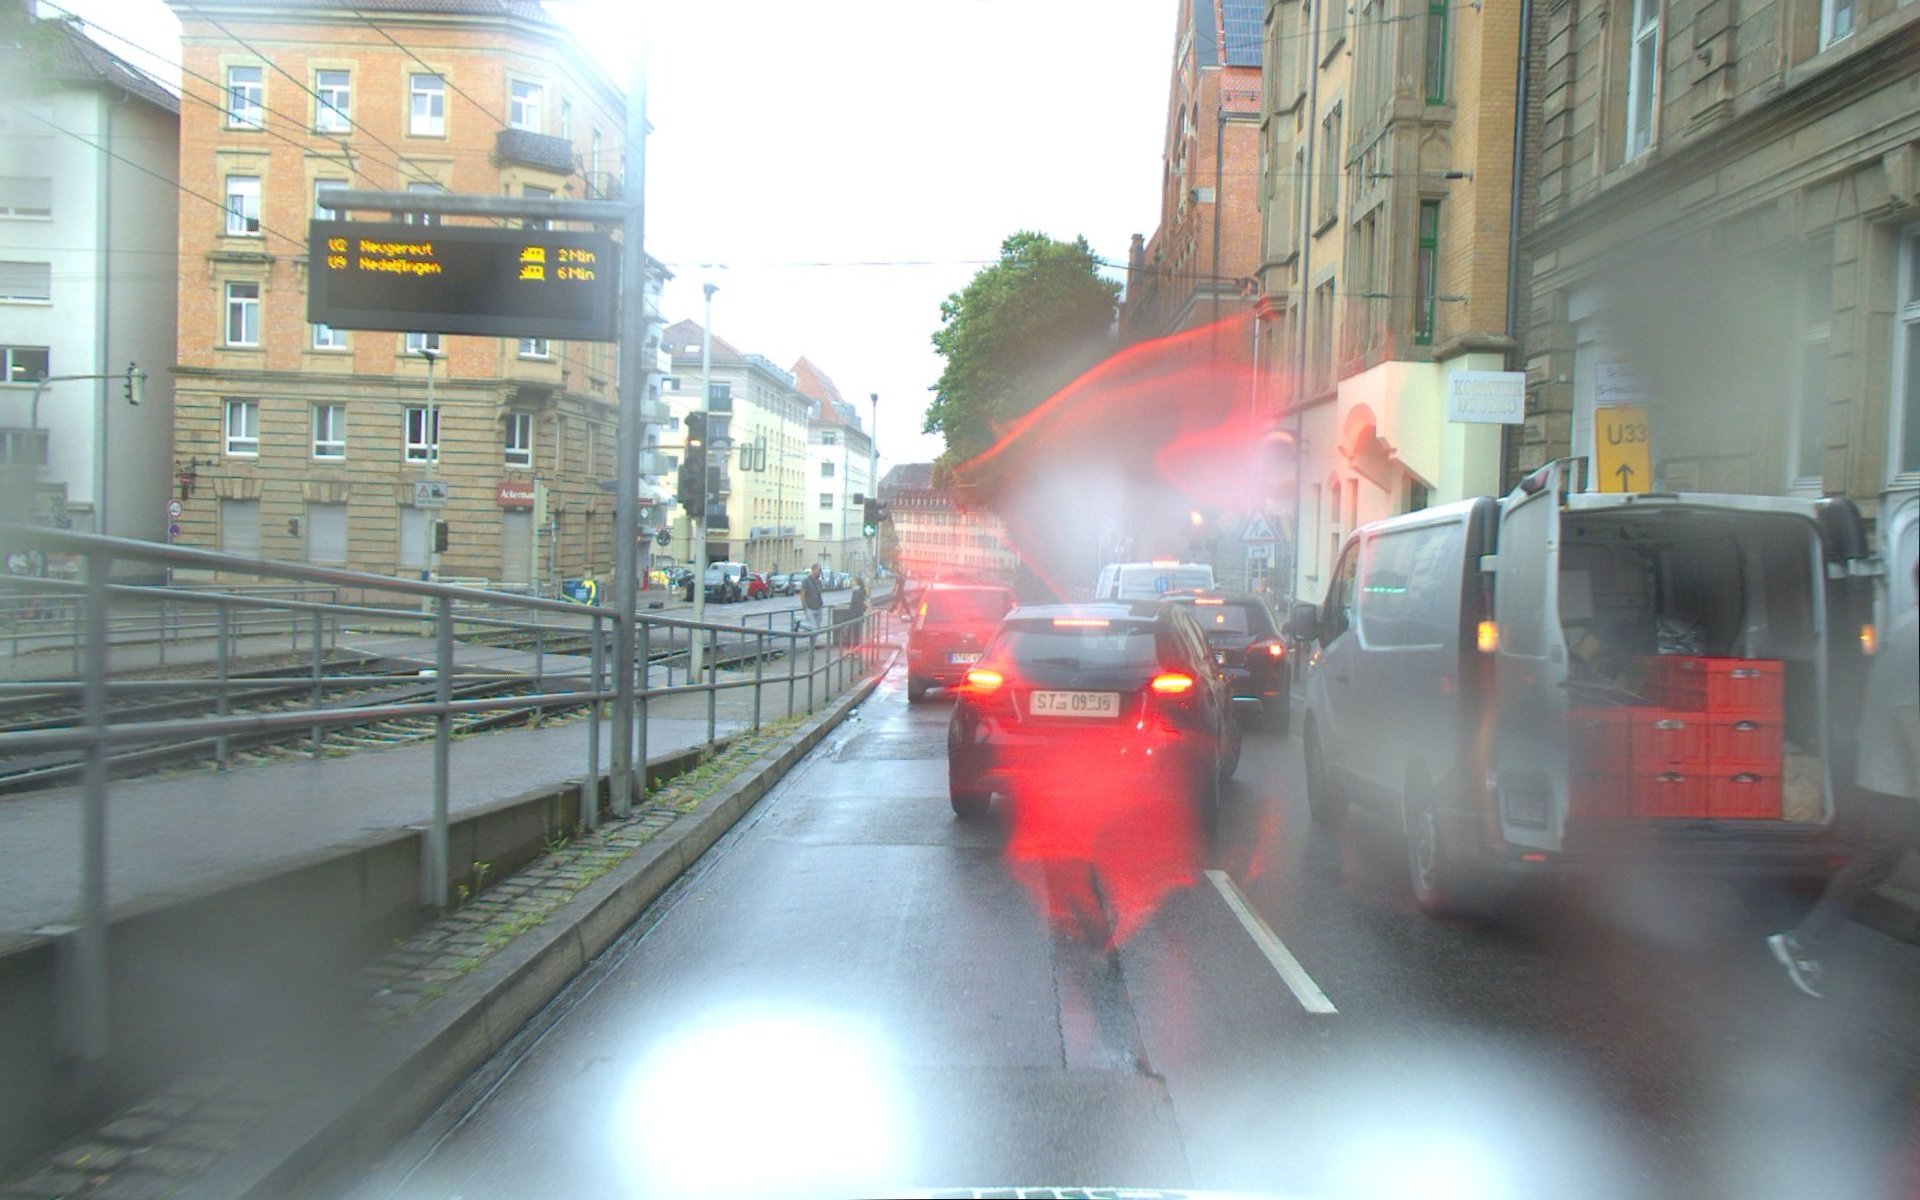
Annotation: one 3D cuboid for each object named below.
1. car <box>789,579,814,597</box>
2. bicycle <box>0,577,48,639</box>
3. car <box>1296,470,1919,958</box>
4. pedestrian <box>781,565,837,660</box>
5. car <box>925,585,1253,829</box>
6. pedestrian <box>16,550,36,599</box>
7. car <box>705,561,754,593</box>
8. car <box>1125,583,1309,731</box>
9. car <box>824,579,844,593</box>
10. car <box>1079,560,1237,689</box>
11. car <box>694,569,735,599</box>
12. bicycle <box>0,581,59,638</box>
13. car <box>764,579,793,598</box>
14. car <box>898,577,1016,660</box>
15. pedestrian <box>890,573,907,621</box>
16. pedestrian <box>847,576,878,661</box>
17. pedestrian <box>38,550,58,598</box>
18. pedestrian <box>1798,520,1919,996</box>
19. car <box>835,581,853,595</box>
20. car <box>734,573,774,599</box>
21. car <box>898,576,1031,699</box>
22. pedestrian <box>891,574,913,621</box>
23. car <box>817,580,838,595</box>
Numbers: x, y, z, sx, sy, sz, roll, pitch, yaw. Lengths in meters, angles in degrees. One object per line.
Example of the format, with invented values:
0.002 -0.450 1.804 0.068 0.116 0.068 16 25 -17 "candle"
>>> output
-11.399 -0.866 119.056 1.366 1.191 3.162 2 0 2 "car"
-18.471 0.132 31.596 1.734 1.162 0.517 1 0 -10 "bicycle"
3.212 0.460 9.189 1.881 1.969 4.687 1 0 2 "car"
-2.844 0.223 31.082 0.735 1.754 0.730 1 0 -42 "pedestrian"
1.113 0.633 12.007 1.854 1.414 4.003 1 0 12 "car"
-31.857 -0.871 56.409 0.512 1.650 0.480 1 0 -38 "pedestrian"
-12.020 -1.179 86.463 1.749 1.556 4.463 2 0 2 "car"
2.885 0.576 19.350 1.677 1.494 4.283 2 0 3 "car"
-11.109 -1.234 145.951 1.366 1.191 3.162 2 0 2 "car"
3.088 0.335 26.608 1.894 1.863 4.280 2 1 -1 "car"
-11.880 -0.782 80.079 1.422 1.341 3.295 3 1 0 "car"
-18.742 0.175 32.373 1.836 1.083 0.517 1 0 -10 "bicycle"
-11.608 -0.746 105.856 1.407 1.126 3.162 2 0 2 "car"
-0.102 0.338 33.280 1.398 1.515 3.144 1 1 -20 "car"
-2.227 -0.109 60.073 0.507 1.695 0.477 2 0 4 "pedestrian"
-1.833 0.341 30.996 0.521 1.557 0.436 1 0 -7 "pedestrian"
-31.181 -0.885 56.552 0.512 1.650 0.480 1 0 -38 "pedestrian"
3.787 0.593 6.486 0.819 1.784 0.685 0 0 34 "pedestrian"
-10.799 -1.128 154.021 1.366 1.191 3.162 2 0 2 "car"
-11.585 -0.804 93.233 1.645 1.379 3.704 2 0 2 "car"
0.041 0.454 22.489 1.645 1.515 3.612 1 1 -1 "car"
-2.070 -0.095 59.287 0.664 1.690 0.677 1 0 8 "pedestrian"
-10.957 -1.024 136.644 1.366 1.191 3.162 2 0 2 "car"
